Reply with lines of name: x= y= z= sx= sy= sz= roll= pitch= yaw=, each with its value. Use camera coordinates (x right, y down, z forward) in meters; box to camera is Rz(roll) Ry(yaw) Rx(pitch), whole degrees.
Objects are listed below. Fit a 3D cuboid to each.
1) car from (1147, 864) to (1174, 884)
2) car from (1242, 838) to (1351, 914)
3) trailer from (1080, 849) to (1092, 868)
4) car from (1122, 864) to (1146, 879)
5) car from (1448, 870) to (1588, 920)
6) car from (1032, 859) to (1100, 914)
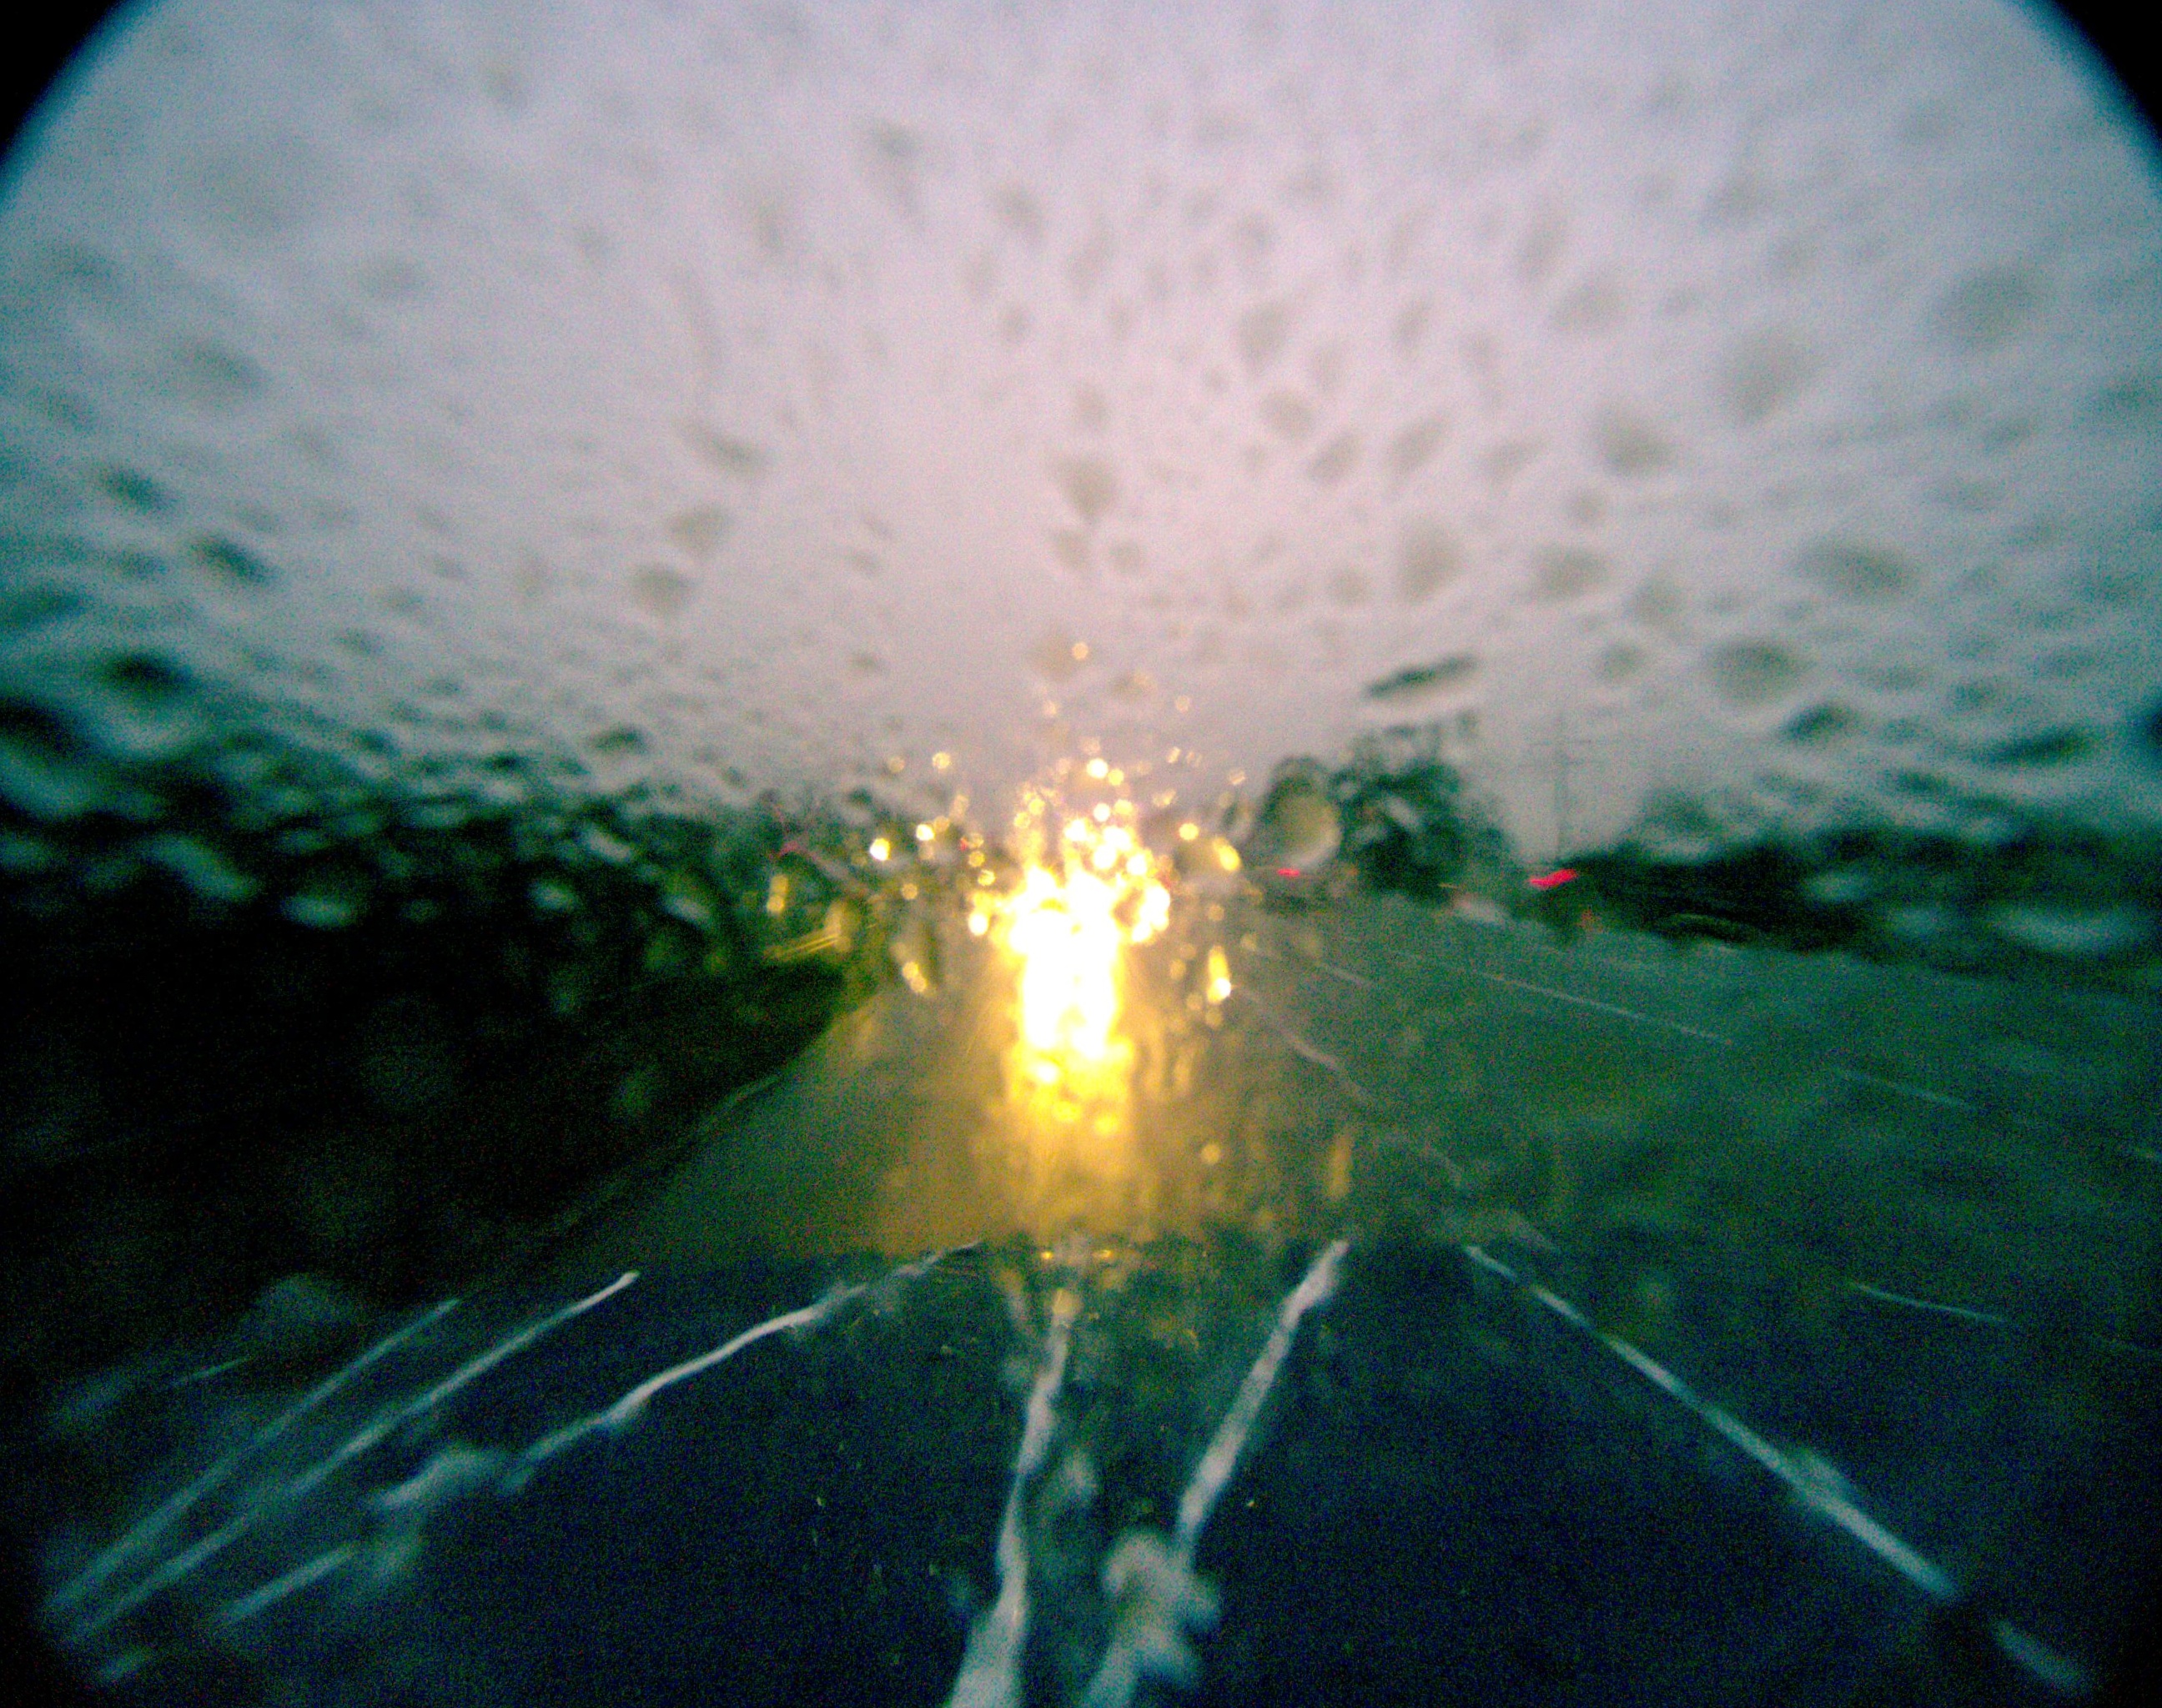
car: x=6.311 y=1.557 z=60.923 sx=1.651 sy=1.492 sz=4.000 roll=2 pitch=0 yaw=-1
car: x=6.618 y=0.649 z=23.973 sx=1.876 sy=2.124 sz=5.180 roll=0 pitch=-1 yaw=-1
trailer: x=1.233 y=1.198 z=190.015 sx=2.635 sy=4.557 sz=13.323 roll=1 pitch=0 yaw=-2
car: x=5.744 y=1.897 z=82.986 sx=1.999 sy=1.463 sz=4.471 roll=-1 pitch=0 yaw=-3
car: x=15.394 y=1.420 z=26.909 sx=1.924 sy=1.622 sz=3.849 roll=3 pitch=-3 yaw=-36
car: x=-0.482 y=0.911 z=23.057 sx=1.887 sy=1.513 sz=3.999 roll=0 pitch=0 yaw=-2
